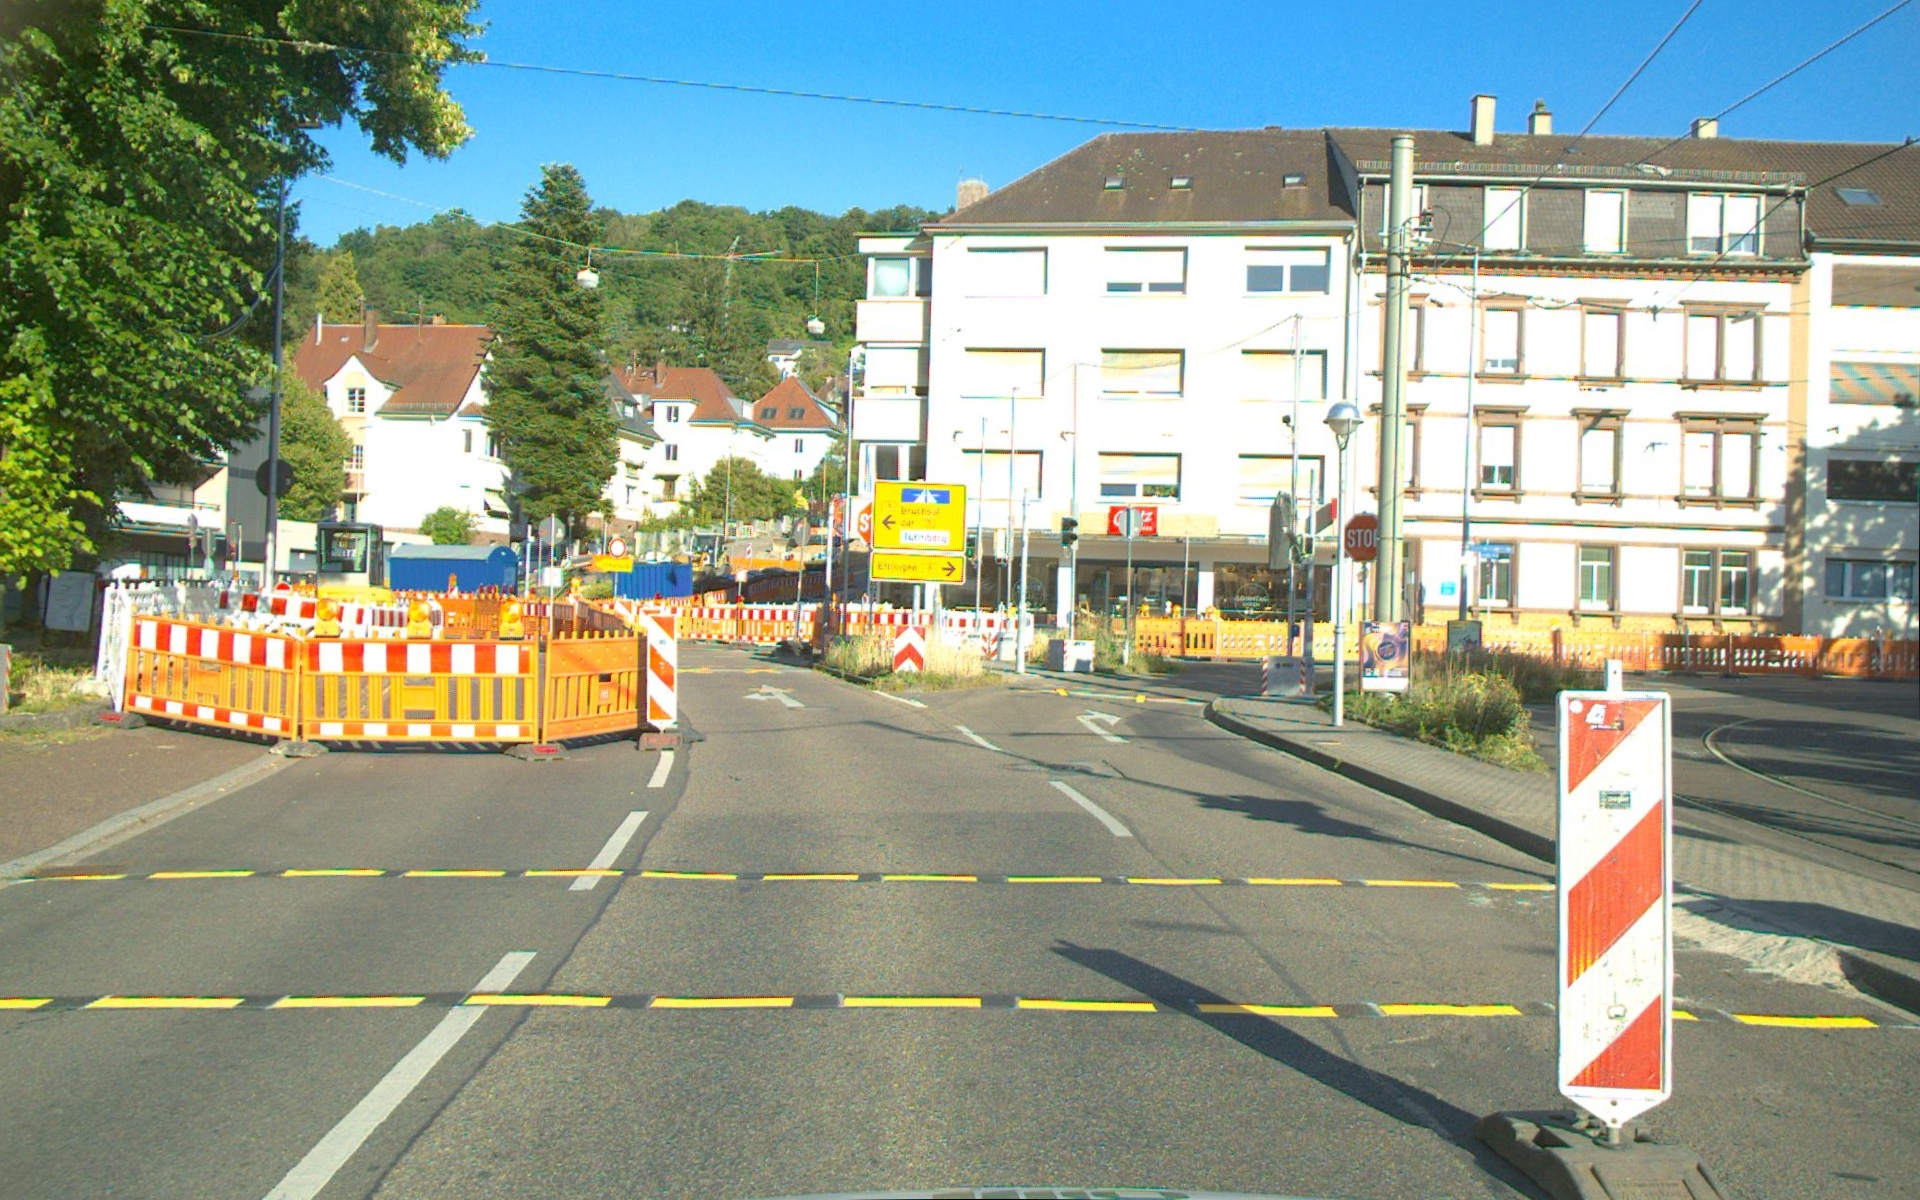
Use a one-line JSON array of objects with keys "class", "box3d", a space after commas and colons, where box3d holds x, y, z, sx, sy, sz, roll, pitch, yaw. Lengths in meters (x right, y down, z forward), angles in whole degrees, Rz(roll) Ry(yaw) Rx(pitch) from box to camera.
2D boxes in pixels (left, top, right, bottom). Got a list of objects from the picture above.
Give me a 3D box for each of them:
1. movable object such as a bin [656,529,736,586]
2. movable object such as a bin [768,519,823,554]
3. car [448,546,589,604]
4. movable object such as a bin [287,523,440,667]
[{"class": "movable object such as a bin", "box3d": [-12.533, -2.002, 78.784, 1.907, 2.538, 4.554, 1, 0, 17]}, {"class": "movable object such as a bin", "box3d": [-11.375, -4.388, 114.735, 2.510, 2.159, 5.789, 1, 0, 8]}, {"class": "car", "box3d": [-17.466, -0.940, 65.866, 2.529, 2.158, 6.154, 1, 0, 17]}, {"class": "movable object such as a bin", "box3d": [-10.480, -0.095, 29.331, 1.615, 2.365, 3.916, 1, 0, -6]}]
